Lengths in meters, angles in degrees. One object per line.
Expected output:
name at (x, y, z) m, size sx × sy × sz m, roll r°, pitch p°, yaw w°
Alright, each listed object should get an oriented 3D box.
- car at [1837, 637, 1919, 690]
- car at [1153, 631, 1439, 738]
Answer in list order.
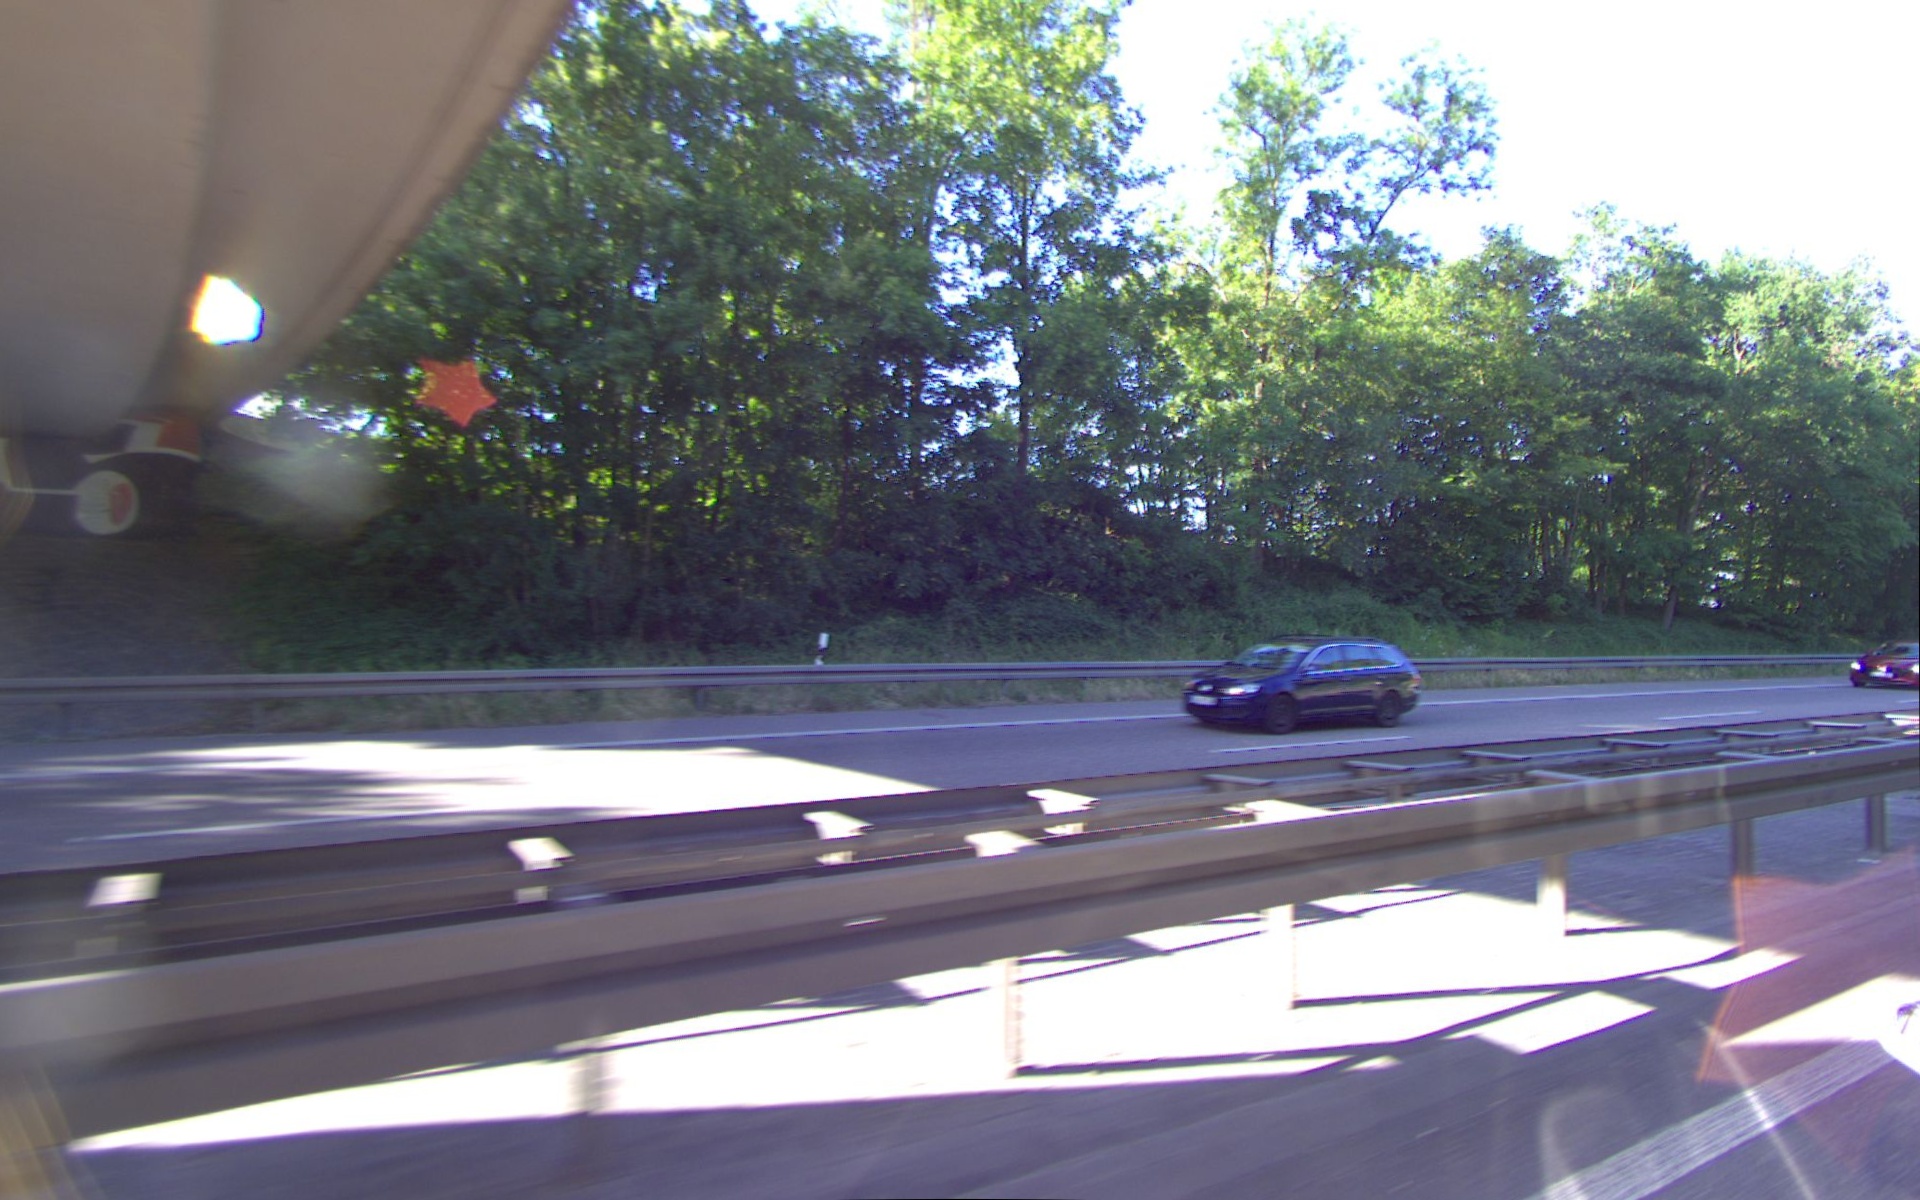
car at (29.161, 1.903, 30.935) m, size 4.531 × 1.469 × 1.951 m, roll 1°, pitch 0°, yaw -31°
car at (5.667, 1.318, 16.785) m, size 4.652 × 1.469 × 1.951 m, roll 1°, pitch 1°, yaw -31°
